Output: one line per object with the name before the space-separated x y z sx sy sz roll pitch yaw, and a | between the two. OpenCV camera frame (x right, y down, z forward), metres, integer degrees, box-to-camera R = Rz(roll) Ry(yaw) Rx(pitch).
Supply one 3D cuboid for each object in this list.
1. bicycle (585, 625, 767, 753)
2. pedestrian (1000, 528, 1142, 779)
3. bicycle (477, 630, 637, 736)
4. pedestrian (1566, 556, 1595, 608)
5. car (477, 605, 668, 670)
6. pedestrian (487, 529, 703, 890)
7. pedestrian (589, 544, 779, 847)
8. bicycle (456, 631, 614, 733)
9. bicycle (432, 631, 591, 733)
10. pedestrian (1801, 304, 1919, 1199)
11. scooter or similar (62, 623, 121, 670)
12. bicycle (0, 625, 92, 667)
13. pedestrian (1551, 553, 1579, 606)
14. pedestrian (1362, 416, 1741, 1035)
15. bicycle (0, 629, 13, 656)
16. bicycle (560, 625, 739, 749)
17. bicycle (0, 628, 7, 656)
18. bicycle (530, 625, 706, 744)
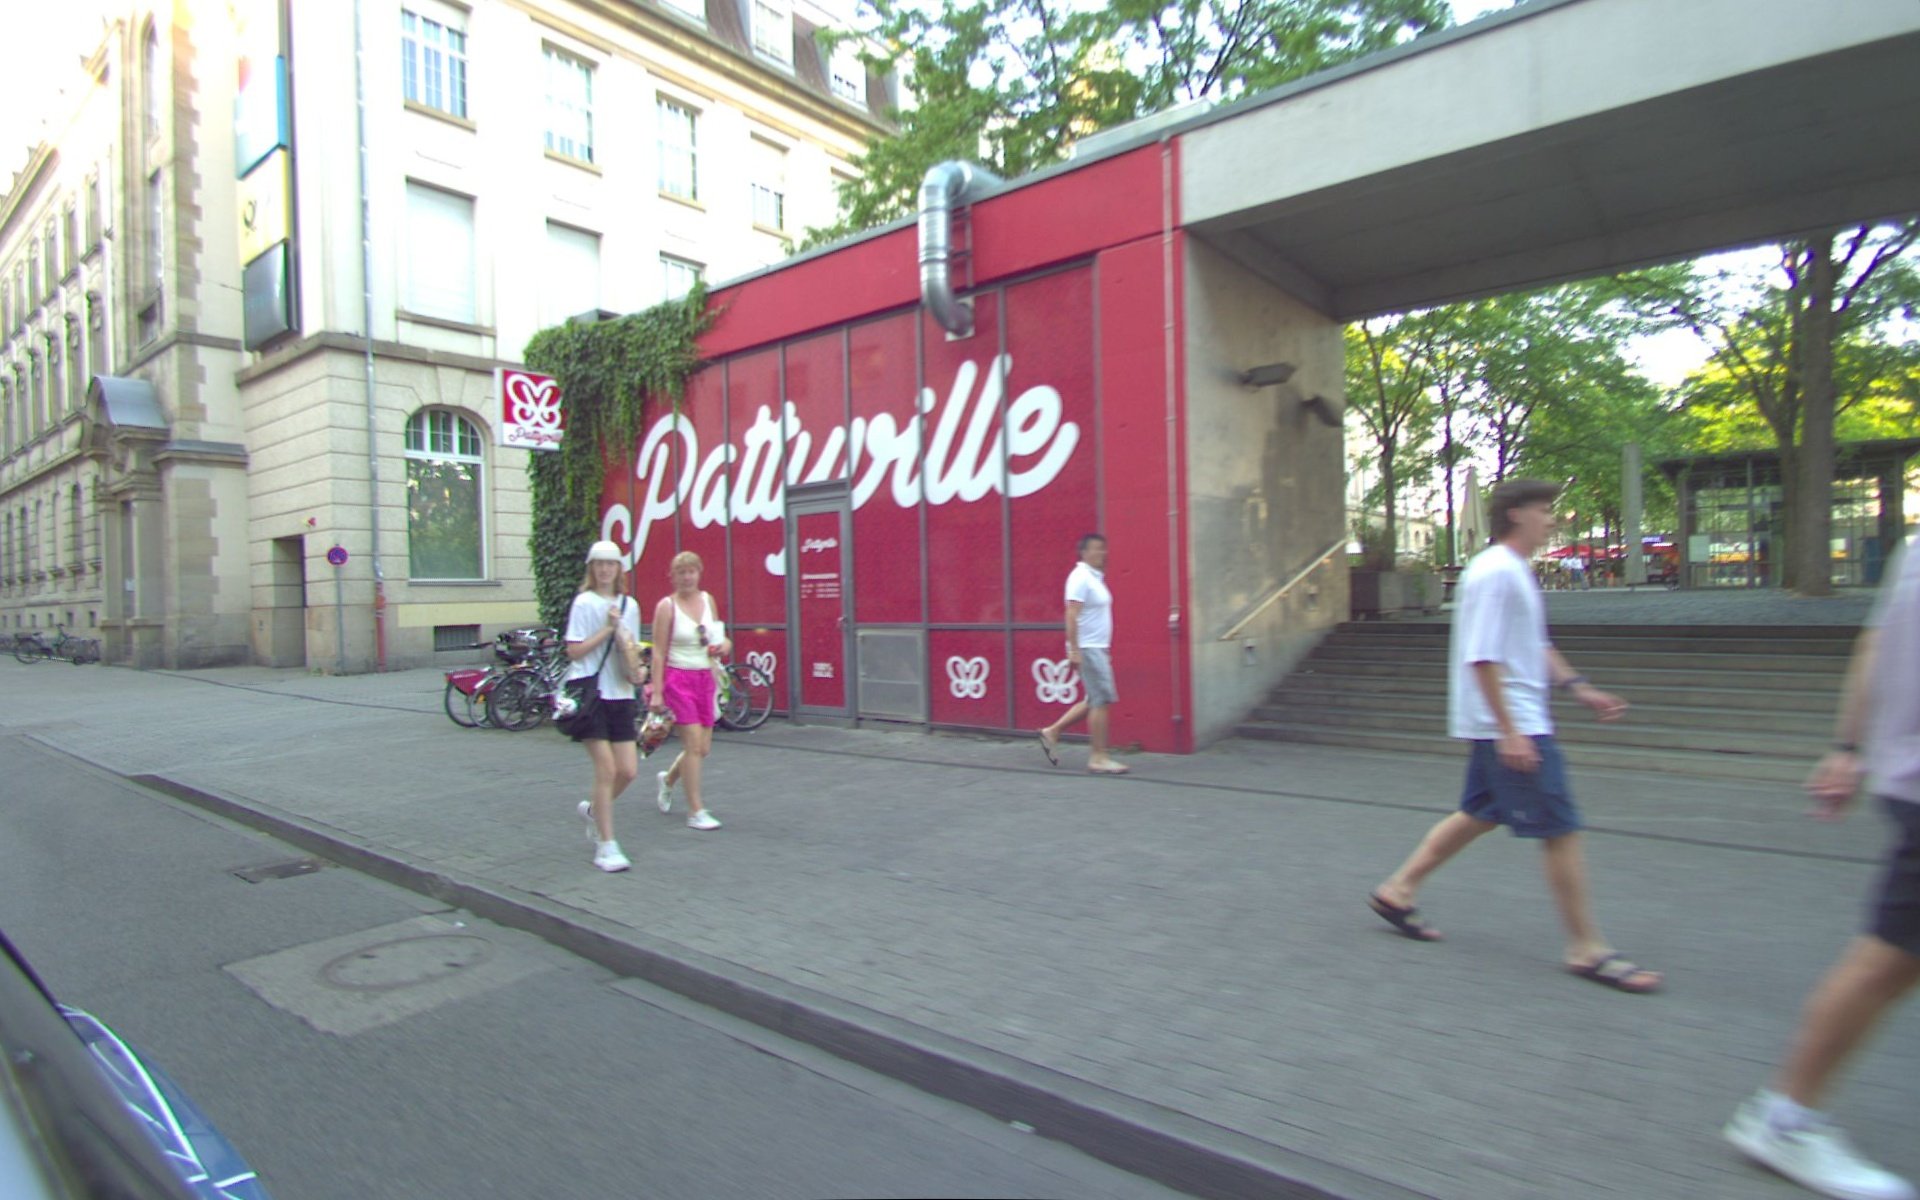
bicycle | -2.862 0.860 10.366 0.500 1.116 1.775 -2 0 42
pedestrian | 0.848 0.389 7.597 0.841 1.767 0.715 -3 0 17
bicycle | -4.843 0.966 12.269 0.499 1.116 1.777 -2 0 38
pedestrian | 28.341 -0.807 46.216 0.802 2.348 0.741 -1 -1 -28
car | -9.215 0.857 24.307 1.748 1.381 3.966 -2 -1 38
pedestrian | -1.995 0.542 5.506 0.984 1.763 0.642 -2 0 39
pedestrian | -1.753 0.550 6.435 0.845 1.762 0.745 -2 1 39
bicycle | -5.256 0.979 12.610 0.499 1.116 1.777 -2 0 38
bicycle | -5.602 0.990 12.732 0.499 1.116 1.776 -2 0 39
pedestrian | 2.400 0.357 2.023 1.049 1.908 0.736 -2 1 40
scooter or similar | -24.476 1.295 28.526 0.494 1.242 1.126 -2 1 27
bicycle | -27.632 1.377 30.643 0.616 1.069 1.928 -1 3 24
pedestrian | 27.458 -0.938 45.941 0.802 2.348 0.741 -1 -1 -28
pedestrian | 2.089 0.367 3.577 1.008 1.826 0.734 -2 2 39
bicycle | -38.352 1.713 39.474 0.618 1.069 1.922 -1 2 33
bicycle | -3.227 0.868 10.662 0.500 1.116 1.775 -2 0 42
bicycle | -38.974 1.707 40.000 0.499 1.116 1.780 -1 2 33
bicycle | -3.702 0.878 11.079 0.500 1.116 1.775 -2 0 42
